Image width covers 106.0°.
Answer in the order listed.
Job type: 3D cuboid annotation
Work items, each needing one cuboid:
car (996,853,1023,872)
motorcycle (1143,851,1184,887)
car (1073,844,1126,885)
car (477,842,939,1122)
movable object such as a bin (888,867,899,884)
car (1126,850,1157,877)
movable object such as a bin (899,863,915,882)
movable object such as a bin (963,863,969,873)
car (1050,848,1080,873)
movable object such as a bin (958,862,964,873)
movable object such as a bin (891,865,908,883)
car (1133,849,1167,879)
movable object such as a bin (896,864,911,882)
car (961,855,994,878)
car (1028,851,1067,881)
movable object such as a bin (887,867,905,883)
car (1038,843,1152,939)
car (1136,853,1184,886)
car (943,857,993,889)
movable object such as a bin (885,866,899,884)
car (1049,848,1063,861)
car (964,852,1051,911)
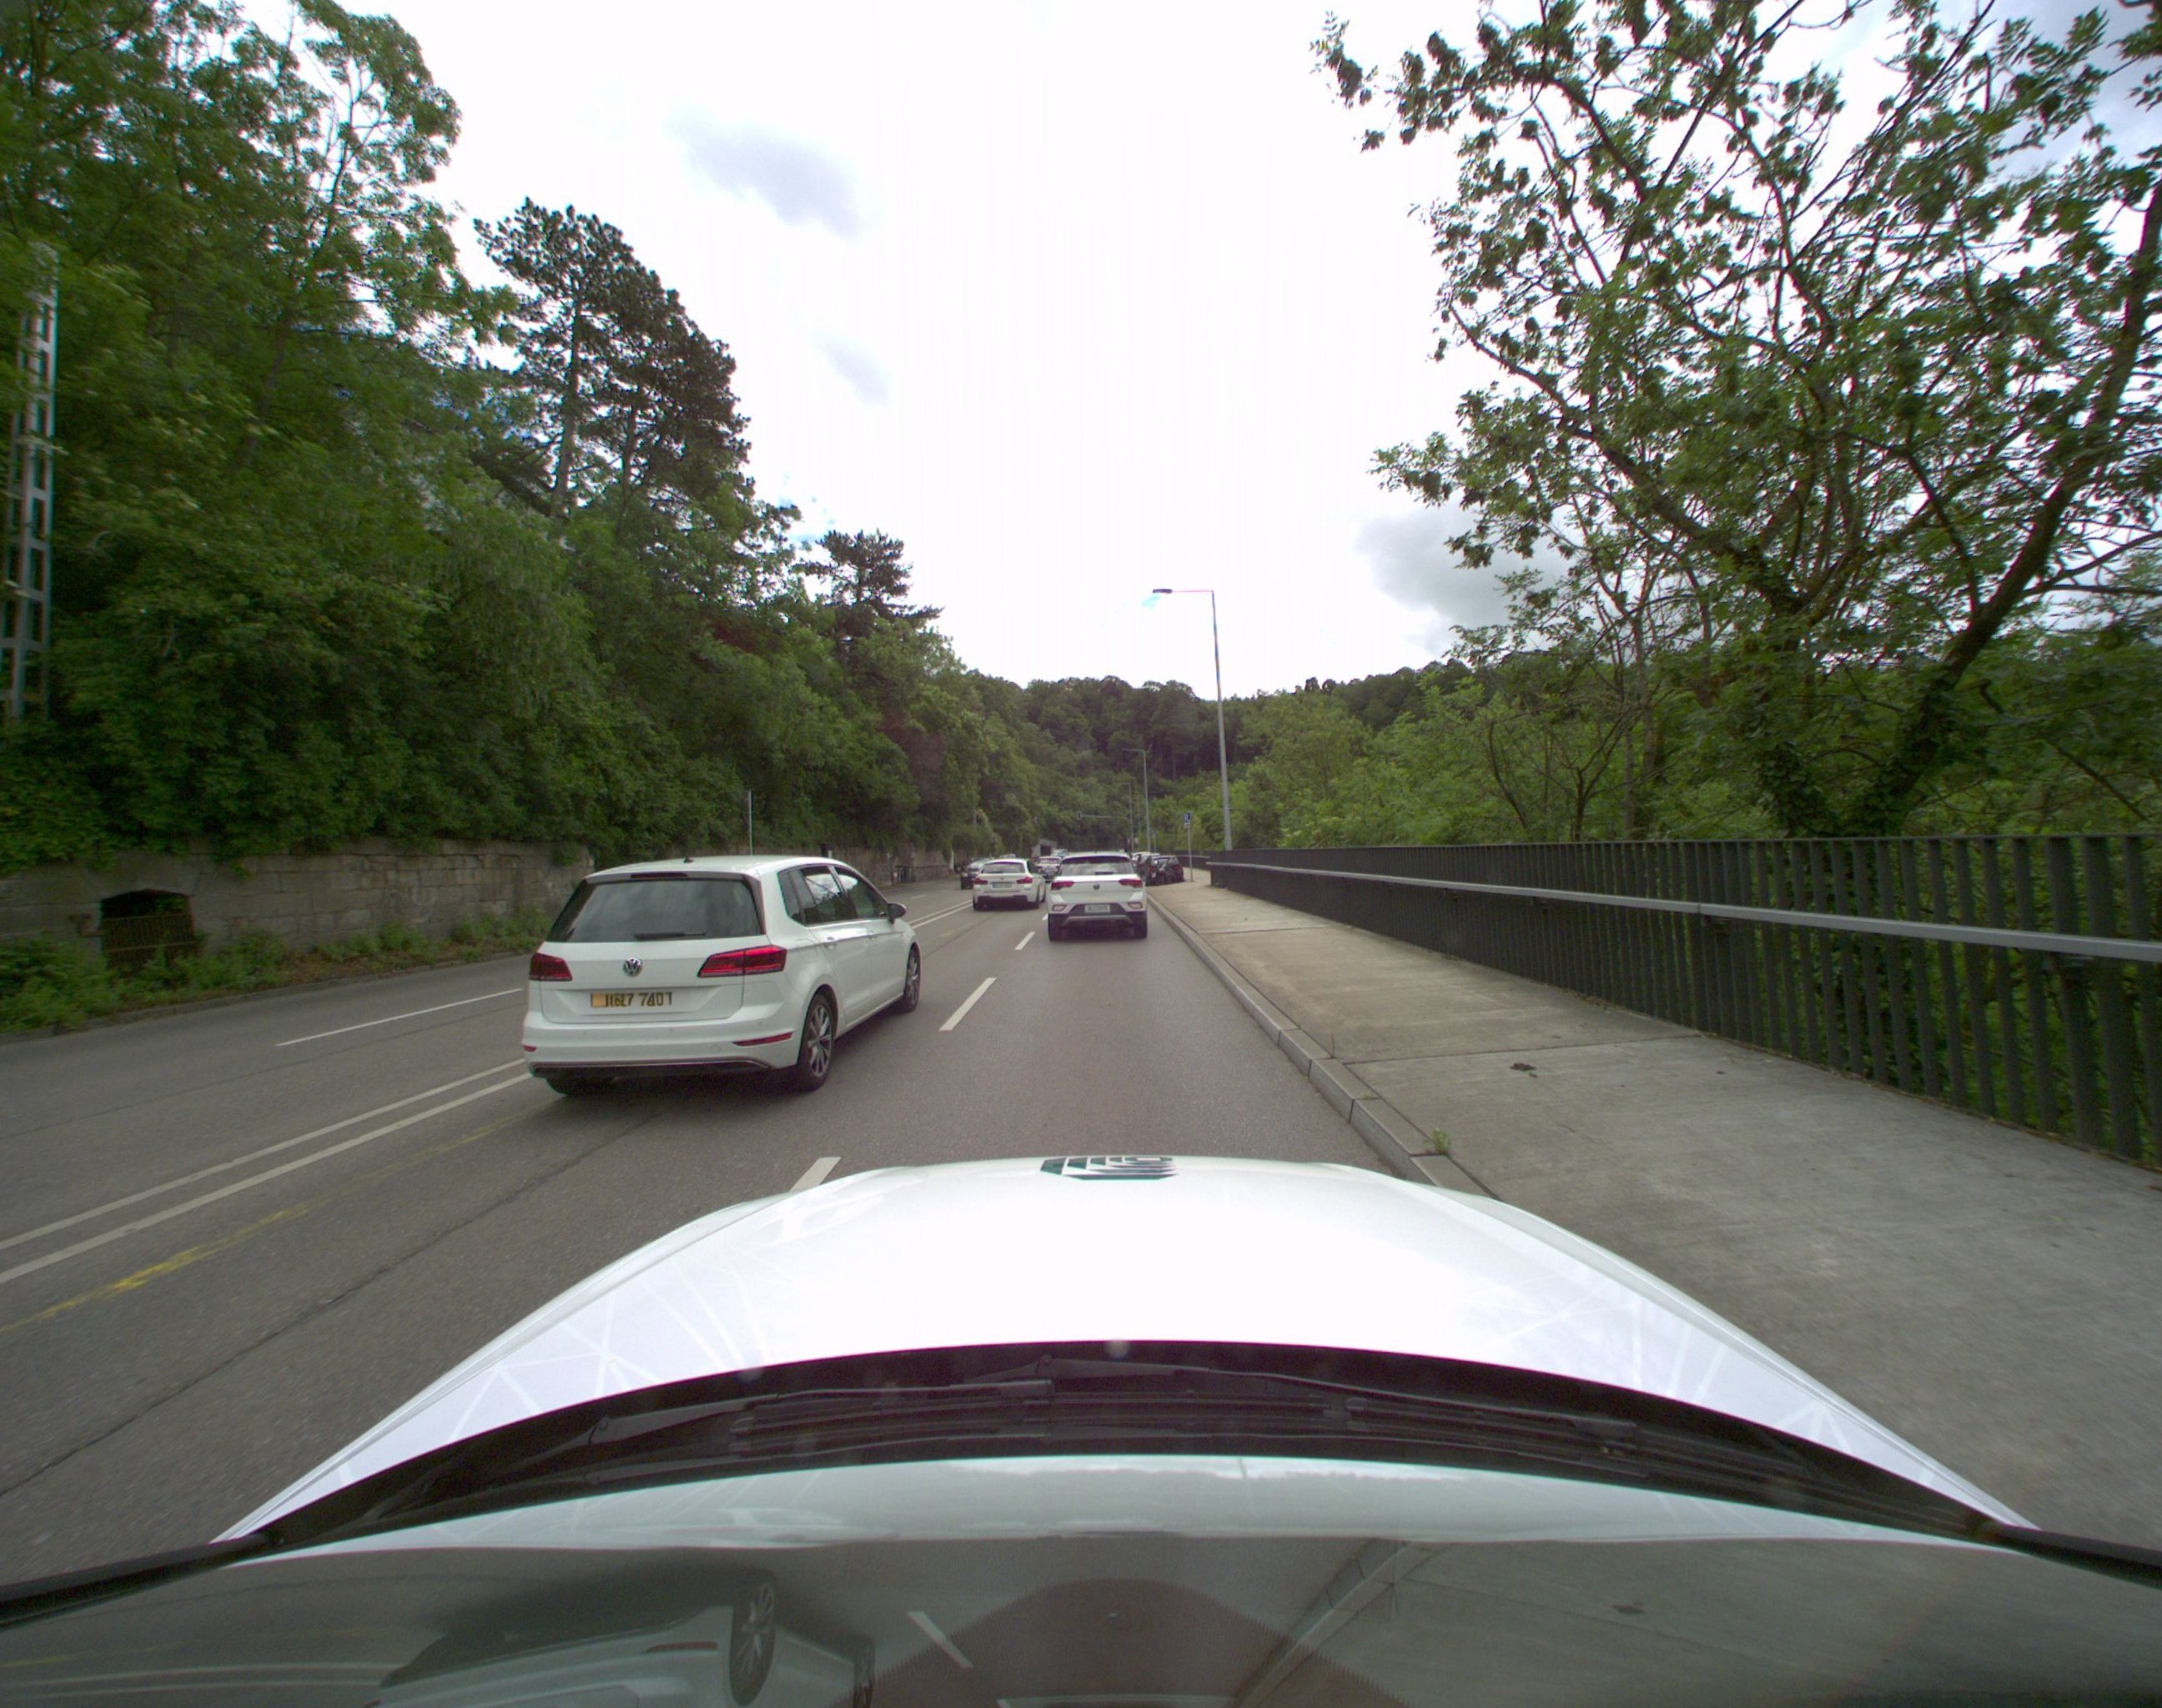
[{"bbox_3d":[-6.434,0.751,73.473,1.808,1.697,4.473,-1,0,3],"label":"car"},{"bbox_3d":[3.561,0.615,35.084,0.762,1.467,2.520,-1,0,30],"label":"motorcycle"},{"bbox_3d":[0.967,0.479,39.021,1.982,1.843,4.161,0,0,9],"label":"car"},{"bbox_3d":[-2.494,0.723,6.755,1.713,1.554,4.277,-1,0,2],"label":"car"},{"bbox_3d":[-10.768,1.232,46.775,0.515,0.966,0.474,-2,0,-2],"label":"movable object such as a bin"},{"bbox_3d":[3.983,0.615,54.134,1.720,1.568,4.625,-3,0,1],"label":"car"},{"bbox_3d":[-10.743,1.143,50.265,0.785,1.071,0.708,-2,1,-2],"label":"movable object such as a bin"},{"bbox_3d":[-9.908,1.205,70.456,0.478,0.936,0.365,0,-1,-3],"label":"movable object such as a bin"},{"bbox_3d":[-1.149,0.480,61.438,1.986,1.741,4.002,-1,0,2],"label":"car"},{"bbox_3d":[-10.414,1.196,70.435,0.476,0.971,0.367,0,-1,-3],"label":"movable object such as a bin"},{"bbox_3d":[-10.877,1.219,48.792,0.896,1.034,0.621,-2,0,-3],"label":"movable object such as a bin"},{"bbox_3d":[4.084,0.586,48.685,1.653,1.572,4.256,-5,0,1],"label":"car"},{"bbox_3d":[-10.787,1.175,49.527,0.770,1.061,0.717,-2,0,-2],"label":"movable object such as a bin"},{"bbox_3d":[-7.060,0.843,55.812,1.577,1.461,3.525,-1,0,2],"label":"car"},{"bbox_3d":[-1.806,0.647,45.405,1.855,1.595,4.002,0,-1,2],"label":"car"},{"bbox_3d":[-10.946,1.240,48.142,0.914,0.945,0.593,-2,0,-2],"label":"movable object such as a bin"},{"bbox_3d":[0.401,0.654,15.749,1.805,1.539,4.014,-3,-1,5],"label":"car"},{"bbox_3d":[3.751,0.703,39.182,1.817,1.401,4.319,-4,0,0],"label":"car"},{"bbox_3d":[-5.518,0.899,40.344,1.850,1.445,4.295,-1,0,0],"label":"car"},{"bbox_3d":[-11.008,1.226,47.519,0.672,0.966,0.543,-2,0,-2],"label":"movable object such as a bin"},{"bbox_3d":[-4.197,0.095,136.855,1.914,2.005,5.358,-2,0,2],"label":"car"},{"bbox_3d":[-2.096,0.748,24.517,1.986,1.557,4.684,-1,0,2],"label":"car"}]
